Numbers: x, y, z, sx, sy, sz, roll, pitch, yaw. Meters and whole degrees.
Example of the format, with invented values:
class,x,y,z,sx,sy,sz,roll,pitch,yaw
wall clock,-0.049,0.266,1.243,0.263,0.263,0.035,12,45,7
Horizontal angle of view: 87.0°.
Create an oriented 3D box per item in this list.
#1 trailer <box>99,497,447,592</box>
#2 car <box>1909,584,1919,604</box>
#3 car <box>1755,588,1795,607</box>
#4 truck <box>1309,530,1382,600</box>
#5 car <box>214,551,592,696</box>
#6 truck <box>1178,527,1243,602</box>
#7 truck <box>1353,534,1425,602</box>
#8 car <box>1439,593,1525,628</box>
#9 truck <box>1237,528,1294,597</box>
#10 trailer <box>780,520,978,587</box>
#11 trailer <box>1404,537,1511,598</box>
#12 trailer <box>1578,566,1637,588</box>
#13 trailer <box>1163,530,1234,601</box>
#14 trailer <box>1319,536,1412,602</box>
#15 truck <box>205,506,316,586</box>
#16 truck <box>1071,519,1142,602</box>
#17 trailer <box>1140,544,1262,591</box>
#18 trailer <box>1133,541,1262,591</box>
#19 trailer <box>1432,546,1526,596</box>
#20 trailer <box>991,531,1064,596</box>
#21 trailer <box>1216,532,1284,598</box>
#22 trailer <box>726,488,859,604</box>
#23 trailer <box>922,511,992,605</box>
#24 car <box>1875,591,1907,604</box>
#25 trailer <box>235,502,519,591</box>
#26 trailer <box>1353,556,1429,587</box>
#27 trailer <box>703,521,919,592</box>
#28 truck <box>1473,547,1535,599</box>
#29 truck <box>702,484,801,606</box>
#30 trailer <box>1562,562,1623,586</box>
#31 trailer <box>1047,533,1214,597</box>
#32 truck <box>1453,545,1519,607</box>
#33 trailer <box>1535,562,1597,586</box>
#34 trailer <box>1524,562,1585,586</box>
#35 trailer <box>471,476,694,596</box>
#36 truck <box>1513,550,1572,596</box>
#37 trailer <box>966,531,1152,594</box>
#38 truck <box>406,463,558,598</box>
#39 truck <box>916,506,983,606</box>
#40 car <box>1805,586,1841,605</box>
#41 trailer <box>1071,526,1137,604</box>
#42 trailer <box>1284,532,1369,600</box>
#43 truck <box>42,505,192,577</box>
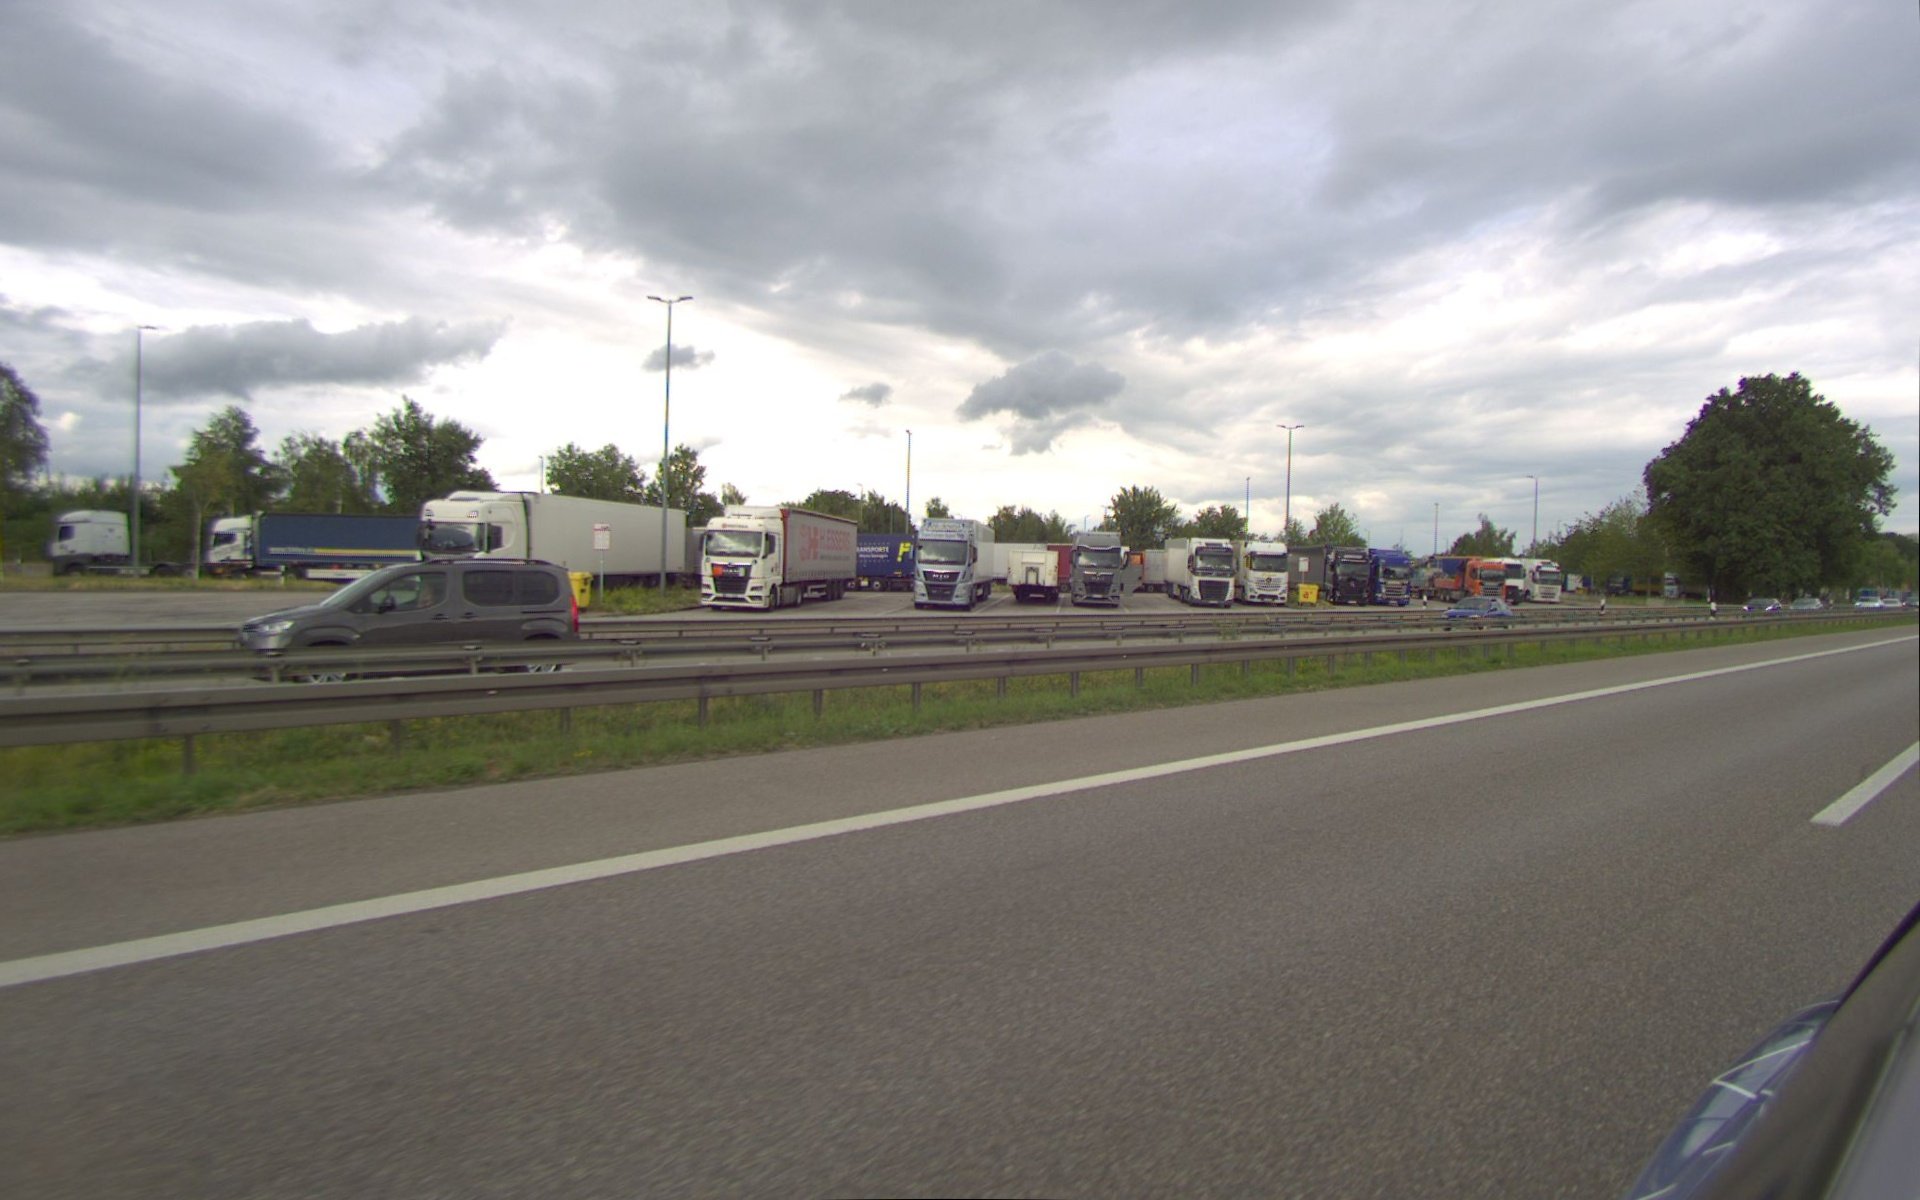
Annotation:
class,x,y,z,sx,sy,sz,roll,pitch,yaw
trailer,-34.554,-2.738,51.164,16.201,4.444,2.634,-1,0,2
car,100.944,-0.608,106.211,3.930,2.039,1.605,-1,0,-41
car,56.592,-0.175,70.236,3.930,1.230,1.465,-1,2,-41
truck,26.469,-2.317,69.791,3.113,4.614,6.076,-1,0,6
car,-7.898,0.243,14.603,4.513,1.778,1.832,0,2,-41
truck,14.708,-2.006,59.914,2.836,4.187,6.959,-1,0,7
truck,30.691,-2.204,72.623,3.007,4.614,6.076,-1,0,6
car,20.419,0.396,39.548,3.484,1.274,1.795,-1,0,-41
truck,18.979,-2.240,63.070,2.651,4.107,4.787,-1,0,8
trailer,-5.943,-3.371,75.367,14.395,4.701,3.155,-1,0,5
trailer,42.399,-2.608,87.117,2.814,4.737,15.786,-1,0,6
trailer,103.243,-3.635,161.432,7.452,3.502,2.919,-1,0,4
trailer,15.585,-2.077,67.325,2.806,4.156,15.860,-1,0,7
trailer,31.333,-2.275,79.043,3.010,4.637,13.635,-1,0,6
truck,-38.122,-2.888,55.276,4.049,4.210,2.942,-1,0,5
truck,7.816,-2.036,55.105,3.486,4.136,7.642,-1,0,6
trailer,22.375,-3.009,94.348,10.599,4.174,2.920,-1,0,2
trailer,20.839,-2.984,89.234,10.599,4.174,2.920,-1,0,2
trailer,46.747,-2.459,91.785,2.617,4.165,14.046,-1,0,6
trailer,4.028,-1.857,56.841,3.533,3.150,13.725,-1,0,6
trailer,20.066,-2.254,70.921,2.607,4.145,13.770,-1,0,8
trailer,-7.214,-2.144,46.389,2.435,4.451,14.121,-1,0,6
trailer,0.084,-1.934,52.348,2.610,4.136,14.682,-1,0,4
car,91.001,-0.249,98.886,3.810,1.258,1.827,0,2,-41
trailer,-31.394,-2.796,54.703,14.141,4.444,2.949,-1,0,5
trailer,52.104,-3.450,122.558,7.886,3.660,2.920,-1,0,2
trailer,-10.438,-3.032,71.466,14.783,4.701,2.871,-1,0,5
truck,46.175,-2.221,86.071,2.623,4.201,5.920,-1,0,7
truck,-7.932,-1.989,39.096,2.467,4.382,4.899,-1,0,5
trailer,98.814,-4.060,158.192,7.452,3.502,2.919,-1,0,4
trailer,14.100,-2.870,85.199,13.311,5.075,5.241,-1,0,5
truck,41.677,-1.846,80.320,2.827,4.683,5.165,-1,0,5
trailer,90.849,-3.931,151.825,7.452,3.502,2.919,-1,0,4
trailer,91.001,-3.953,154.917,7.452,3.502,2.919,-1,0,4
trailer,-14.918,-2.254,41.892,2.569,4.125,13.514,-1,0,8
truck,54.361,-2.467,94.604,2.781,4.112,6.429,-1,0,11
trailer,7.775,-2.900,80.604,14.395,4.701,3.155,-1,0,5
truck,-15.983,-2.198,34.165,2.570,4.187,4.523,-1,0,8
truck,-0.383,-1.883,45.036,2.593,4.183,4.790,-1,0,4
car,64.954,-0.355,76.152,3.930,1.322,1.412,0,2,-41
trailer,8.626,-1.931,62.531,3.469,4.186,15.552,-1,0,6
trailer,27.130,-2.378,75.608,3.109,4.649,12.389,-1,0,6
truck,-42.854,-2.946,51.547,5.528,3.483,2.656,-1,0,3
